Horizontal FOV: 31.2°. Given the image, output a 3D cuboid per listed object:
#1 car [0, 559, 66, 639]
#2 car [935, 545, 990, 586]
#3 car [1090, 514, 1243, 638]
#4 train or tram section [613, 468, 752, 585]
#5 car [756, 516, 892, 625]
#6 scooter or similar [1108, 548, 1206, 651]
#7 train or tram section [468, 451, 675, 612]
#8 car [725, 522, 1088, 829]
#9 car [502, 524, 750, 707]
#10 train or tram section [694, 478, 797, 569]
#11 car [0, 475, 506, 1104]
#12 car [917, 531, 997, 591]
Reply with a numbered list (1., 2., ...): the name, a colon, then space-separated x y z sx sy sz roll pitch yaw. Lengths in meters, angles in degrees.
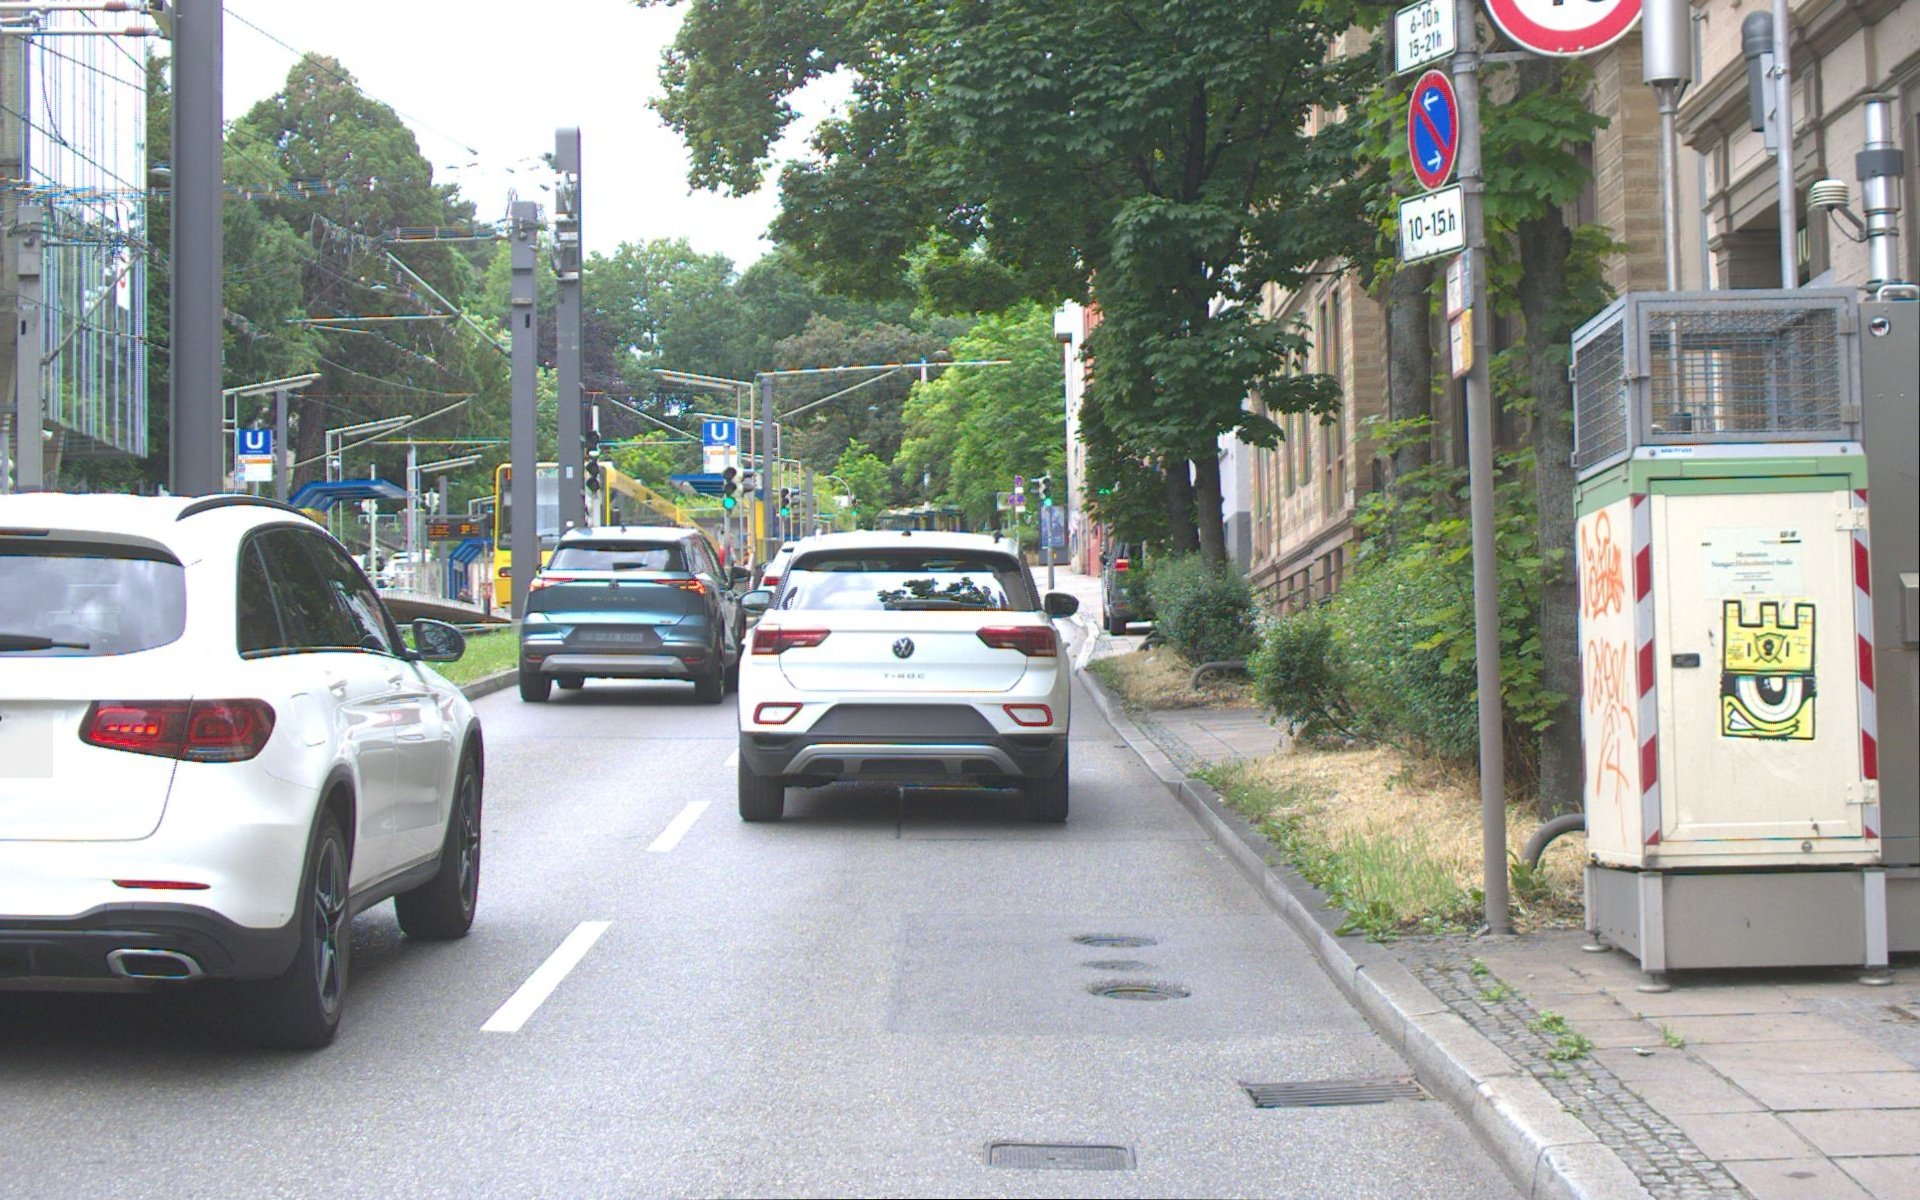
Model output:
1. car: -17.990 -0.034 63.218 1.993 1.398 4.000 -1 1 1
2. car: 0.096 -1.349 132.866 2.068 1.541 4.194 1 1 0
3. car: 2.856 -0.365 48.318 1.835 1.596 4.194 -2 1 0
4. train or tram section: -8.386 -2.236 105.475 2.996 3.337 13.439 -1 1 1
5. car: -1.999 -0.463 51.524 1.835 1.541 4.194 1 1 0
6. scooter or similar: 2.197 -0.006 38.232 1.037 1.115 0.331 -2 1 7
7. train or tram section: -8.666 -1.553 78.442 2.996 3.337 13.439 -1 1 1
8. car: -0.319 0.346 19.669 1.835 1.541 4.194 1 1 -1
9. car: -2.986 0.092 31.514 1.835 1.541 4.194 1 1 0
10. train or tram section: -8.236 -2.940 133.672 2.996 3.337 13.439 -1 1 1
11. car: -2.756 0.452 11.472 1.835 1.661 4.671 1 1 0
12. car: -0.079 -1.053 91.737 2.068 1.541 4.194 1 1 0
